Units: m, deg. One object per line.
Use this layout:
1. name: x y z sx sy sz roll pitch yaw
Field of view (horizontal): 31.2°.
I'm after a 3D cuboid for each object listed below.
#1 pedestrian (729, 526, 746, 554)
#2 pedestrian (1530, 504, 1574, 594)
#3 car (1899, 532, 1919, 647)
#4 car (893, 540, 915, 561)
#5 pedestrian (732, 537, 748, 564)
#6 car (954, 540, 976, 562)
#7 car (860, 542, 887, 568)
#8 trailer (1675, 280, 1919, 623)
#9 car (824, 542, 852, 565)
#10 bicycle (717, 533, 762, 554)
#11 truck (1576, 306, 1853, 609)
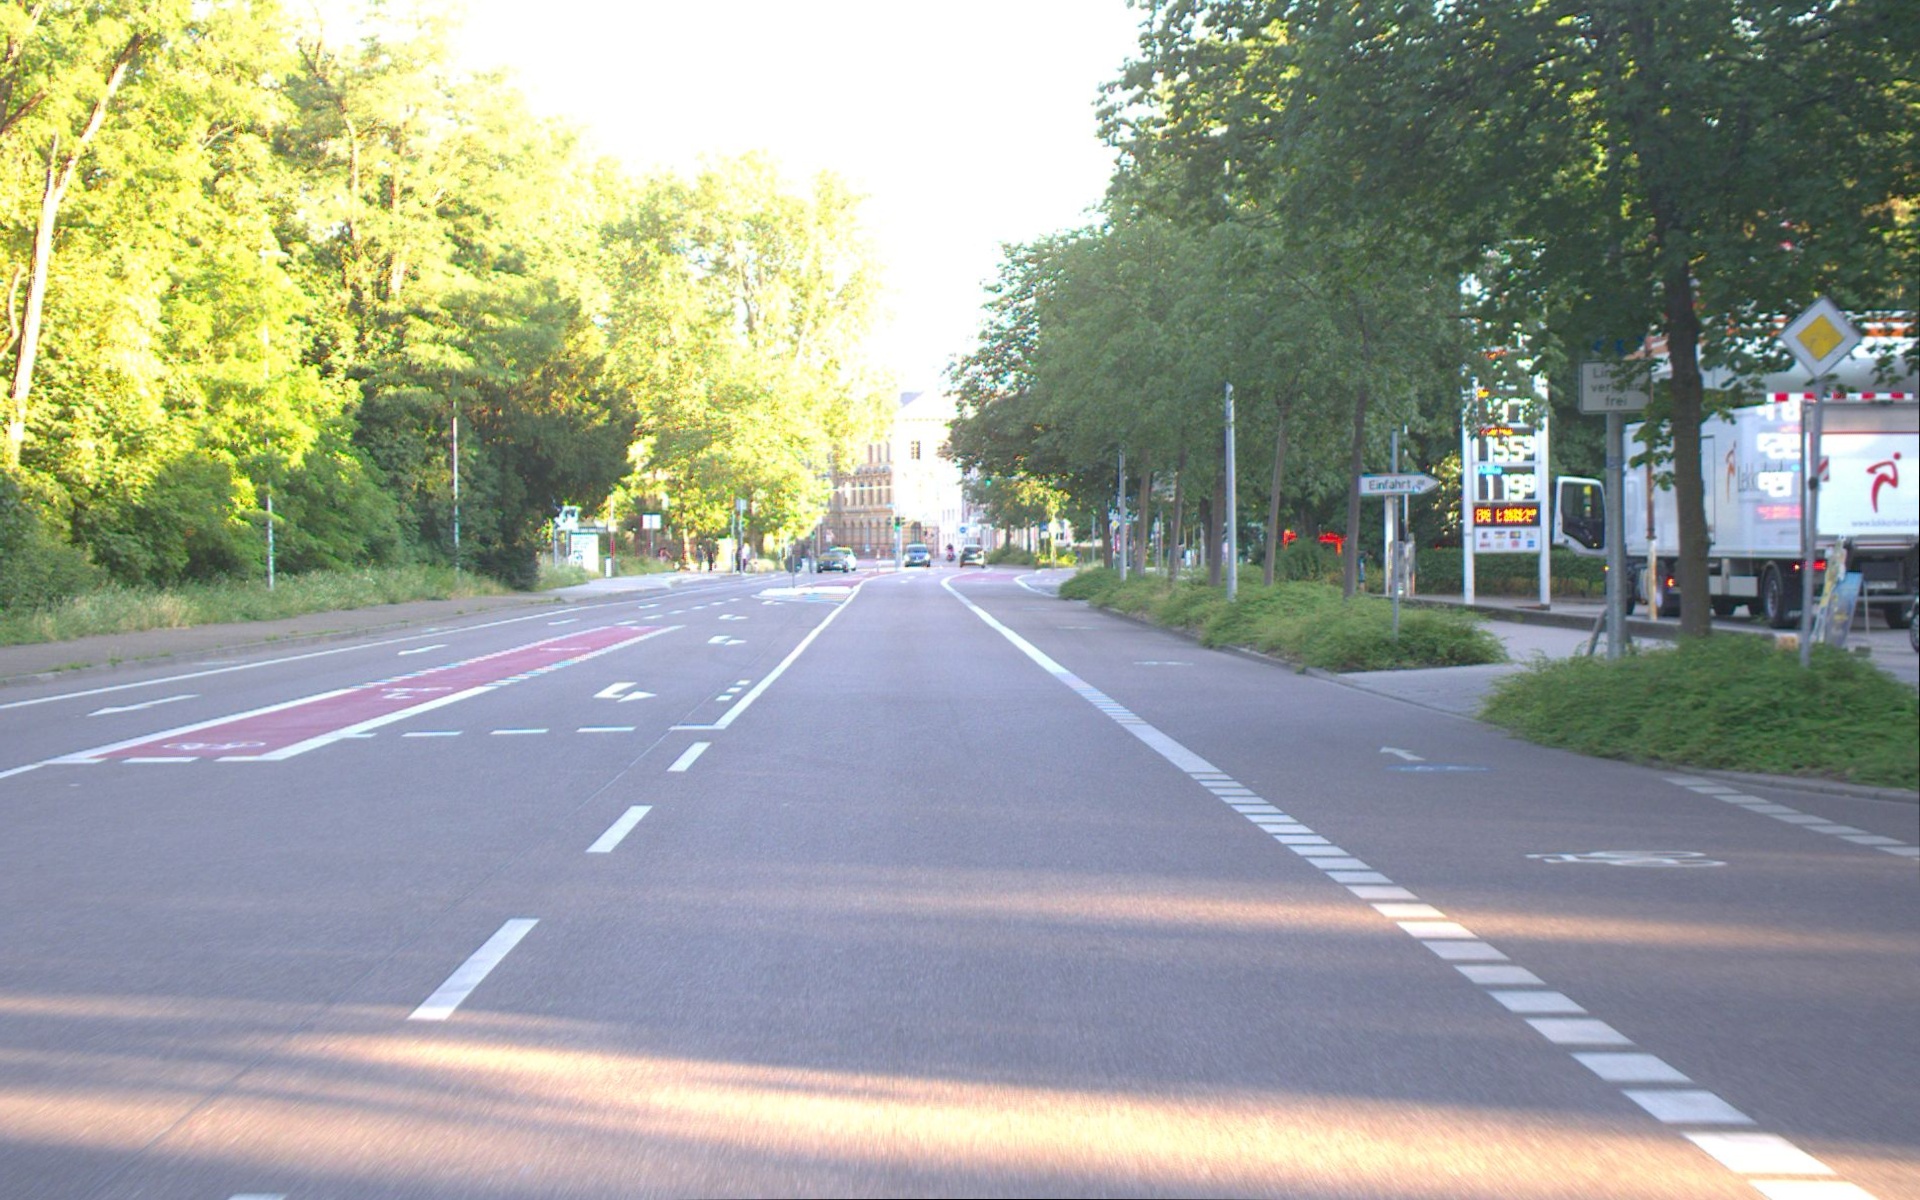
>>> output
1. pedestrian: -12.720 -3.442 196.287 0.791 1.575 0.745 1 1 9
2. pedestrian: 12.027 -1.039 69.847 0.757 1.791 0.706 1 1 3
3. car: 14.054 -0.108 46.081 1.770 1.578 4.819 1 1 3
4. car: -3.926 -3.497 243.214 1.493 1.481 3.491 0 1 0
5. pedestrian: -12.996 -2.930 203.435 0.791 1.575 0.745 1 1 9
6. car: 0.339 -3.386 238.024 1.493 1.481 3.491 0 1 0
7. car: -4.961 -2.591 197.363 1.493 1.481 3.491 0 1 0
8. trailer: 14.707 -2.448 58.652 3.020 5.443 7.935 0 1 -3
9. car: -7.039 -2.668 198.501 1.493 1.287 3.491 0 1 0
10. bicycle: -12.596 -3.206 196.279 2.463 1.191 0.757 0 1 9
11. truck: 14.341 -2.665 66.101 3.033 5.437 8.411 0 1 -3
